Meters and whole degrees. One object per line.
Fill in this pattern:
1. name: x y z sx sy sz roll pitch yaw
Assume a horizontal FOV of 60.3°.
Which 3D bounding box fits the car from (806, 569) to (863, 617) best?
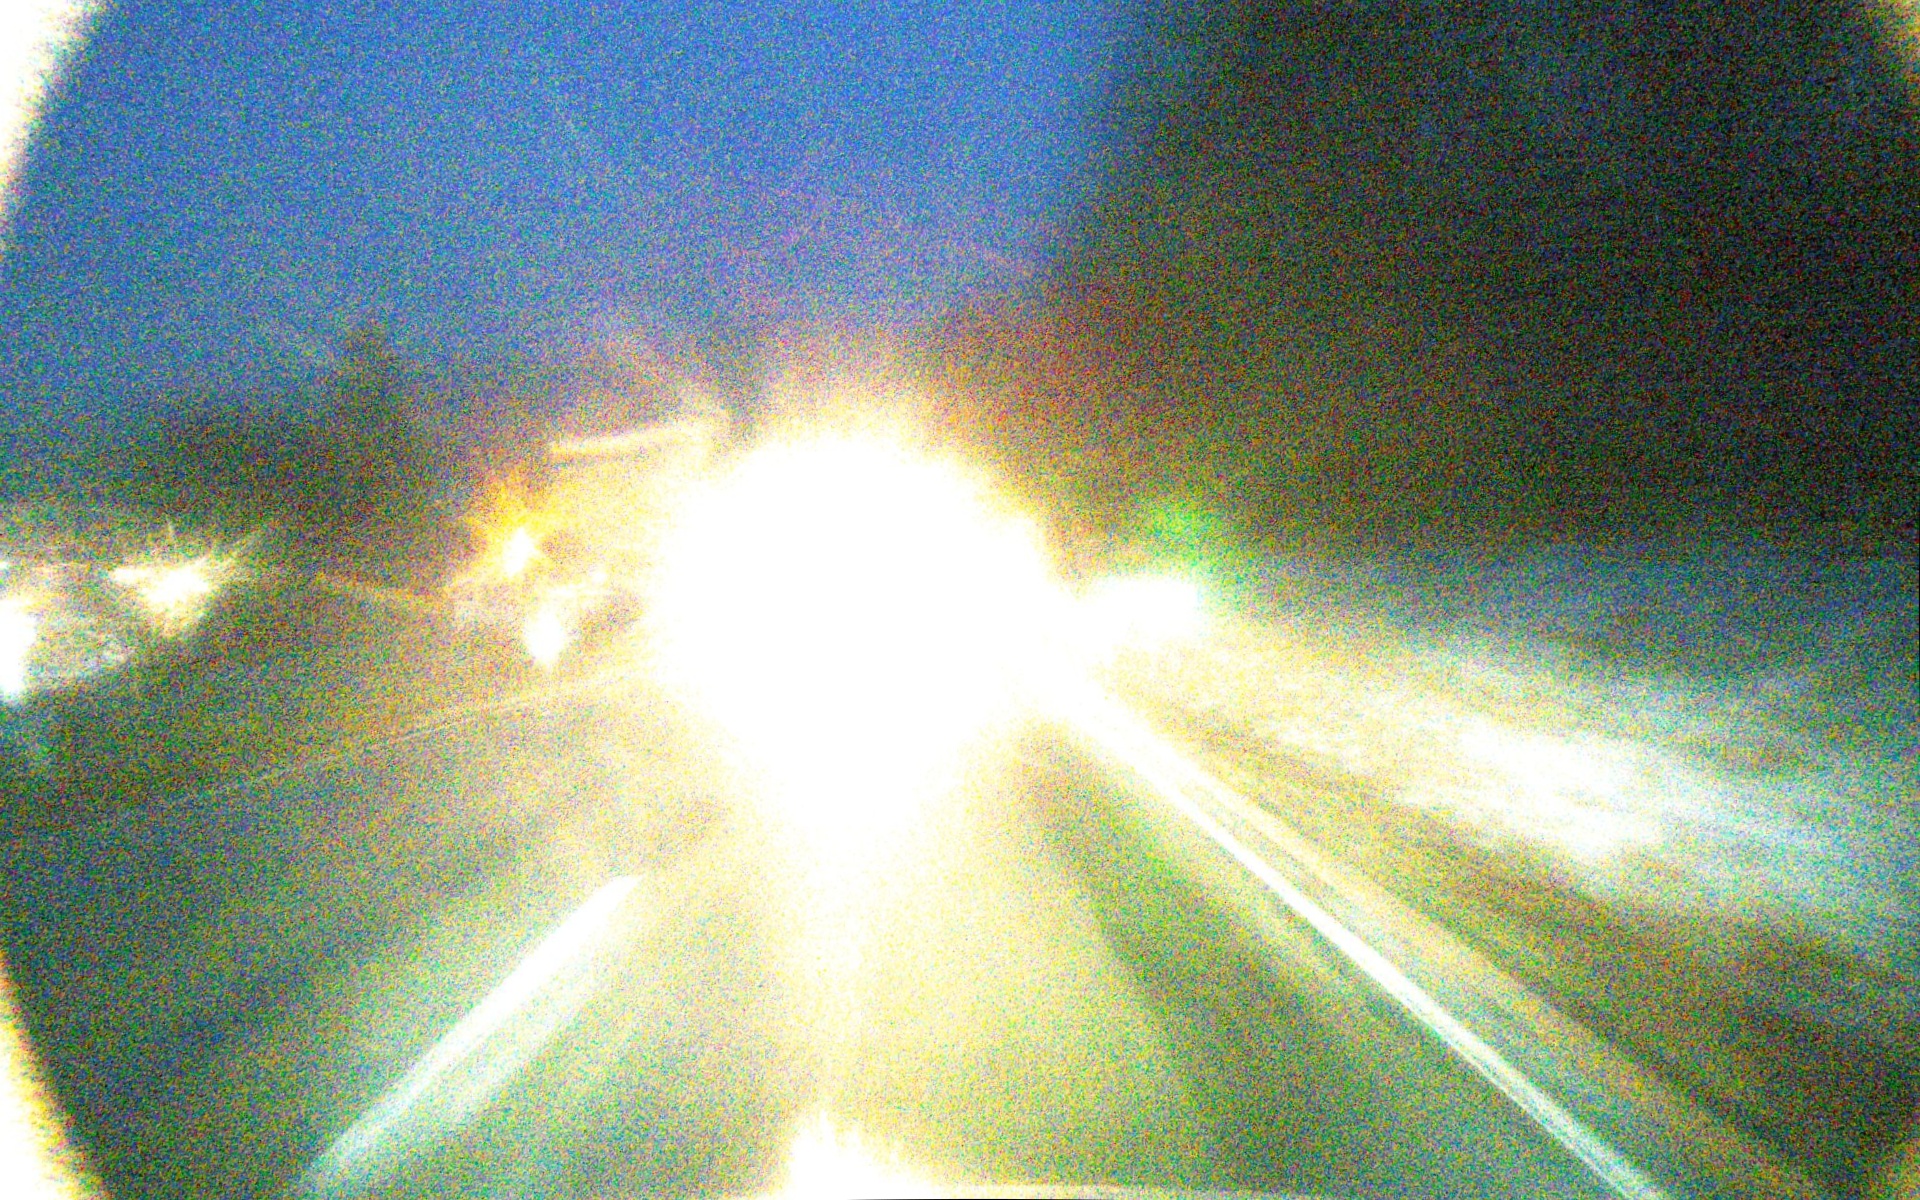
1. car: -6.648 -0.343 88.588 2.697 2.308 6.258 -4 0 -2
